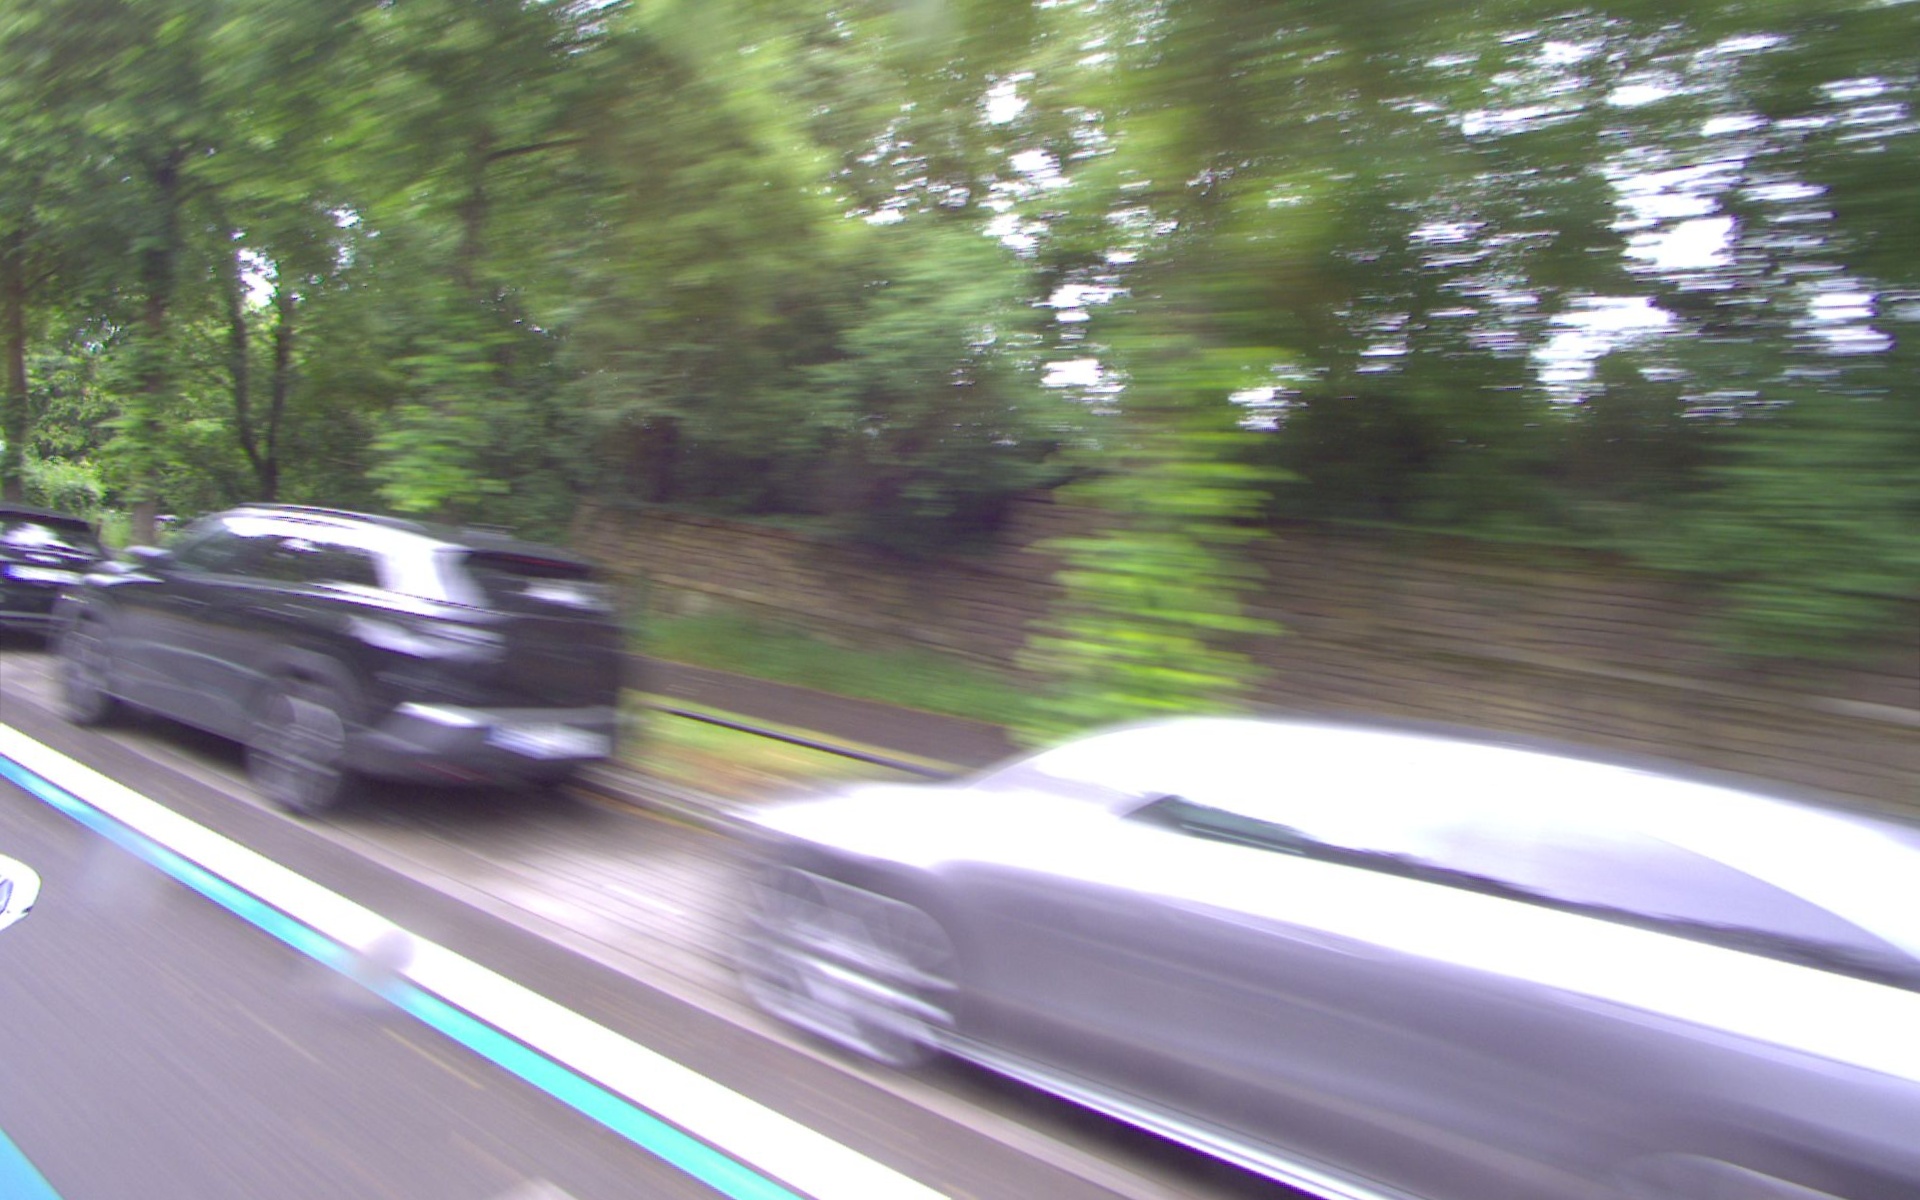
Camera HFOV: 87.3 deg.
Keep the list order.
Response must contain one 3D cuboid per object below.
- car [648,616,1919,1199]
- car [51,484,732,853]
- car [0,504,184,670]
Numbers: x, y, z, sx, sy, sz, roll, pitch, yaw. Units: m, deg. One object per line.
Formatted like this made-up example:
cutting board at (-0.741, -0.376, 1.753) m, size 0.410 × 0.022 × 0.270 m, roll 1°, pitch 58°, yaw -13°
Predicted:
car at (1.197, 1.041, 3.421) m, size 4.393 × 1.364 × 1.778 m, roll 7°, pitch -2°, yaw 32°
car at (-3.909, 0.318, 6.789) m, size 4.275 × 1.663 × 1.999 m, roll 6°, pitch -3°, yaw 31°
car at (-9.706, -0.267, 10.111) m, size 3.934 × 1.392 × 1.681 m, roll 6°, pitch -1°, yaw 32°
